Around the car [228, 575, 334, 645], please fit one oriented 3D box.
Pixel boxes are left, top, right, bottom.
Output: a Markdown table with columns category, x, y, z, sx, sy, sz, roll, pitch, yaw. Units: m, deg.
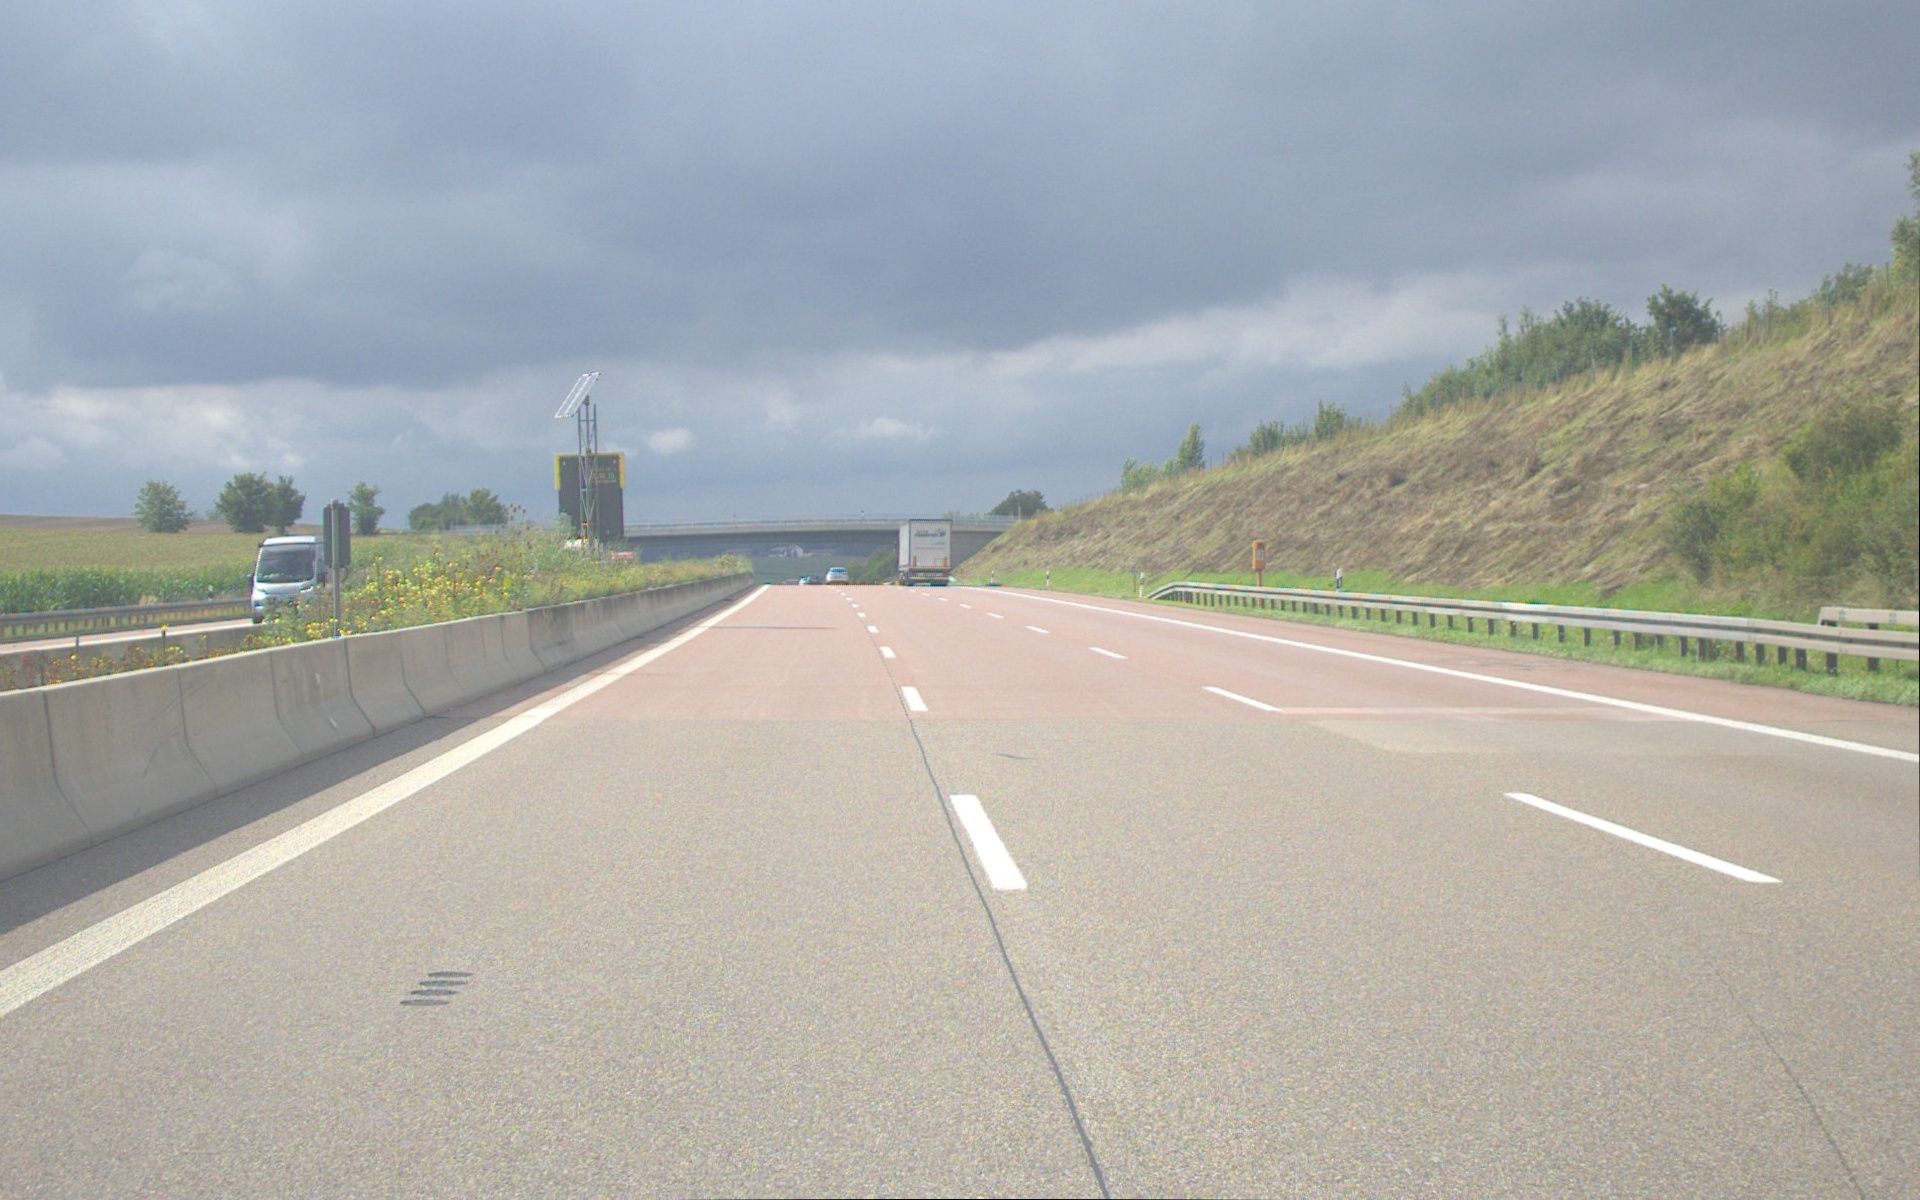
| category | x | y | z | sx | sy | sz | roll | pitch | yaw |
| --- | --- | --- | --- | --- | --- | --- | --- | --- | --- |
| car | -20.157 | 0.272 | 102.330 | 2.057 | 1.906 | 5.704 | -1 | 1 | -1 |

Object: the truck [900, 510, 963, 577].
| category | x | y | z | sx | sy | sz | roll | pitch | yaw |
| --- | --- | --- | --- | --- | --- | --- | --- | --- | --- |
| truck | -1.817 | -3.489 | 209.876 | 3.617 | 3.932 | 11.175 | 1 | 1 | -1 |
